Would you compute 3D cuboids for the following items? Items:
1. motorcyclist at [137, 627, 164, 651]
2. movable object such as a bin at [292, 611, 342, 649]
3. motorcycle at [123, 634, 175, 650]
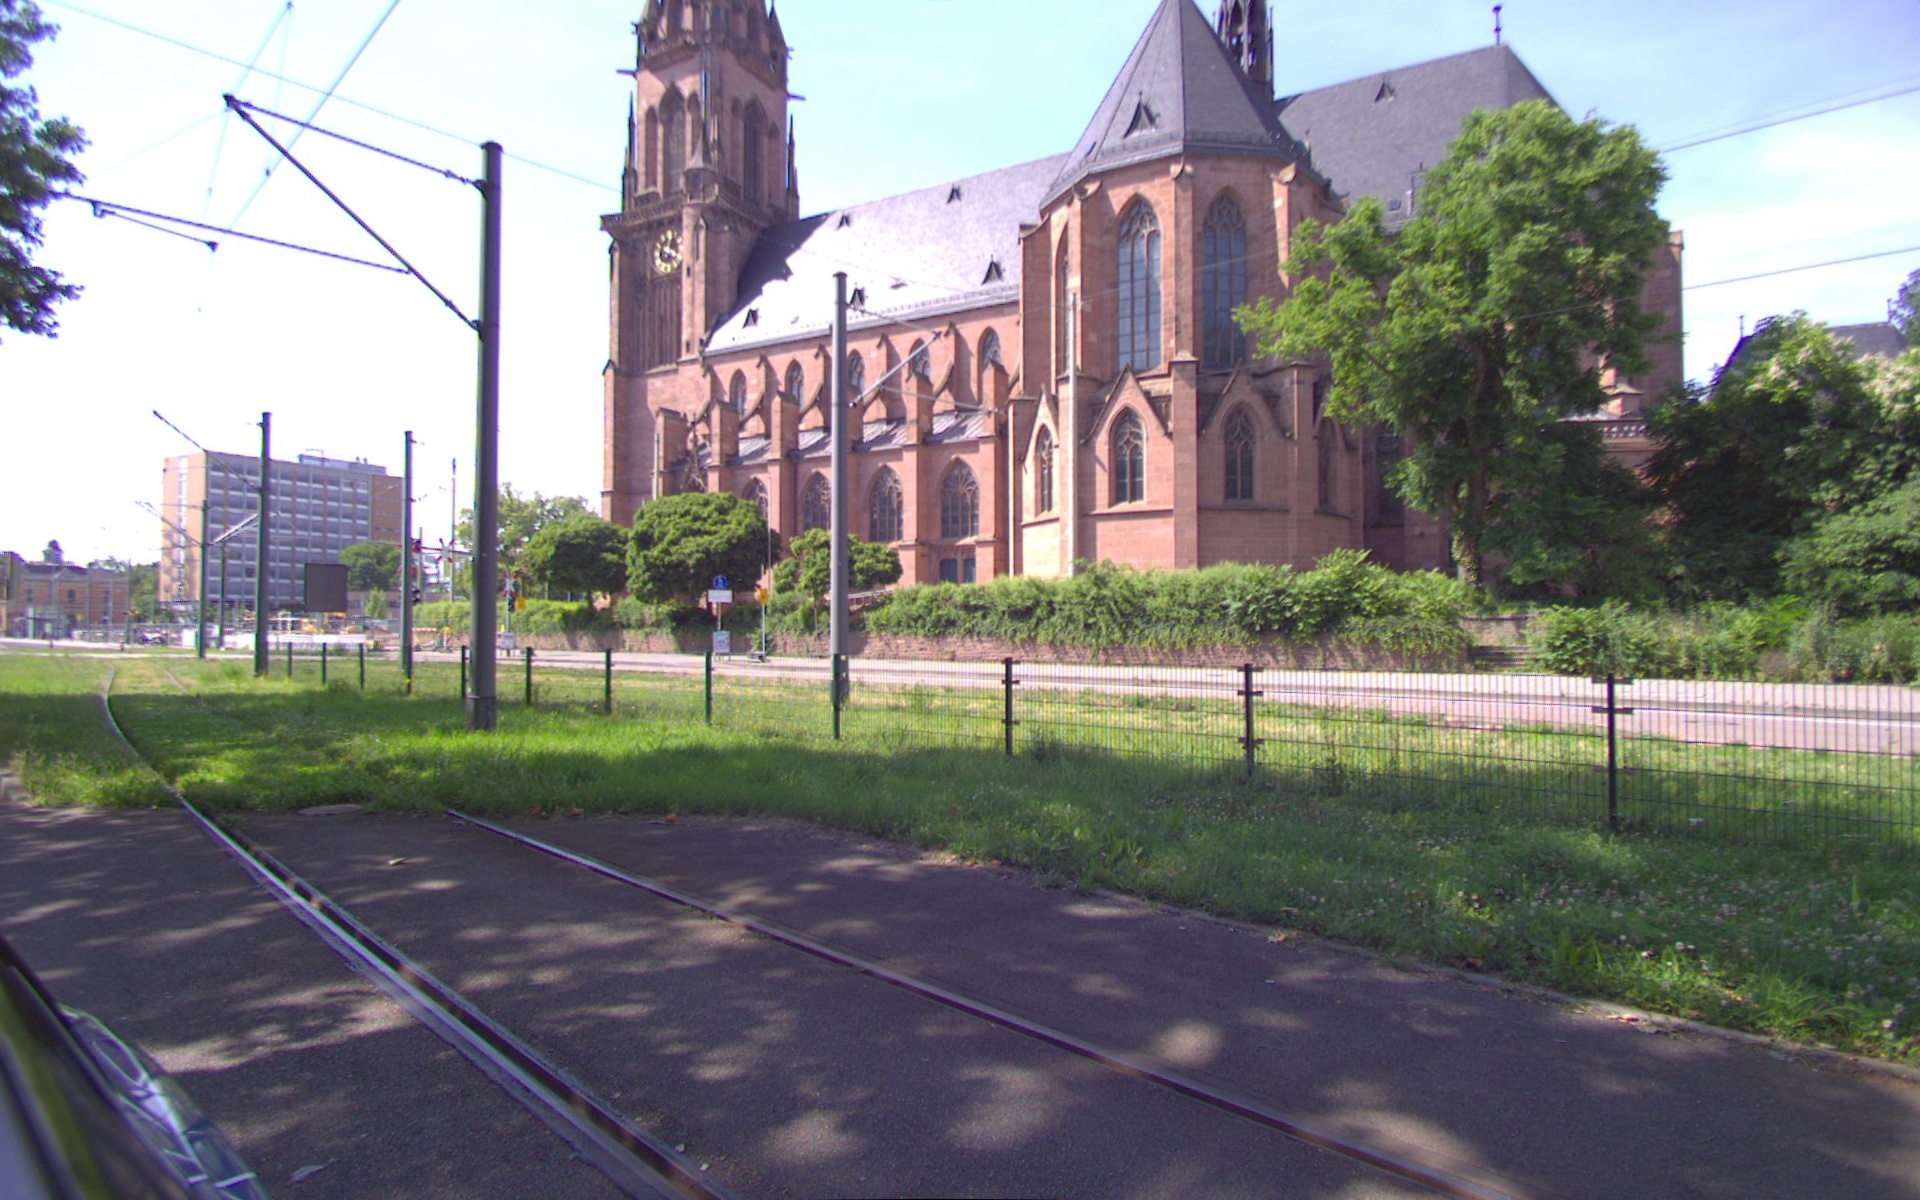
[{"bbox_3d":[-66.686,3.218,83.355,1.097,1.945,1.328,-1,-2,13],"label":"motorcyclist"},{"bbox_3d":[-67.125,3.168,105.753,2.904,3.911,3.327,0,-2,8],"label":"movable object such as a bin"},{"bbox_3d":[-66.779,3.447,83.342,3.899,1.349,1.239,-1,-2,14],"label":"motorcycle"}]
